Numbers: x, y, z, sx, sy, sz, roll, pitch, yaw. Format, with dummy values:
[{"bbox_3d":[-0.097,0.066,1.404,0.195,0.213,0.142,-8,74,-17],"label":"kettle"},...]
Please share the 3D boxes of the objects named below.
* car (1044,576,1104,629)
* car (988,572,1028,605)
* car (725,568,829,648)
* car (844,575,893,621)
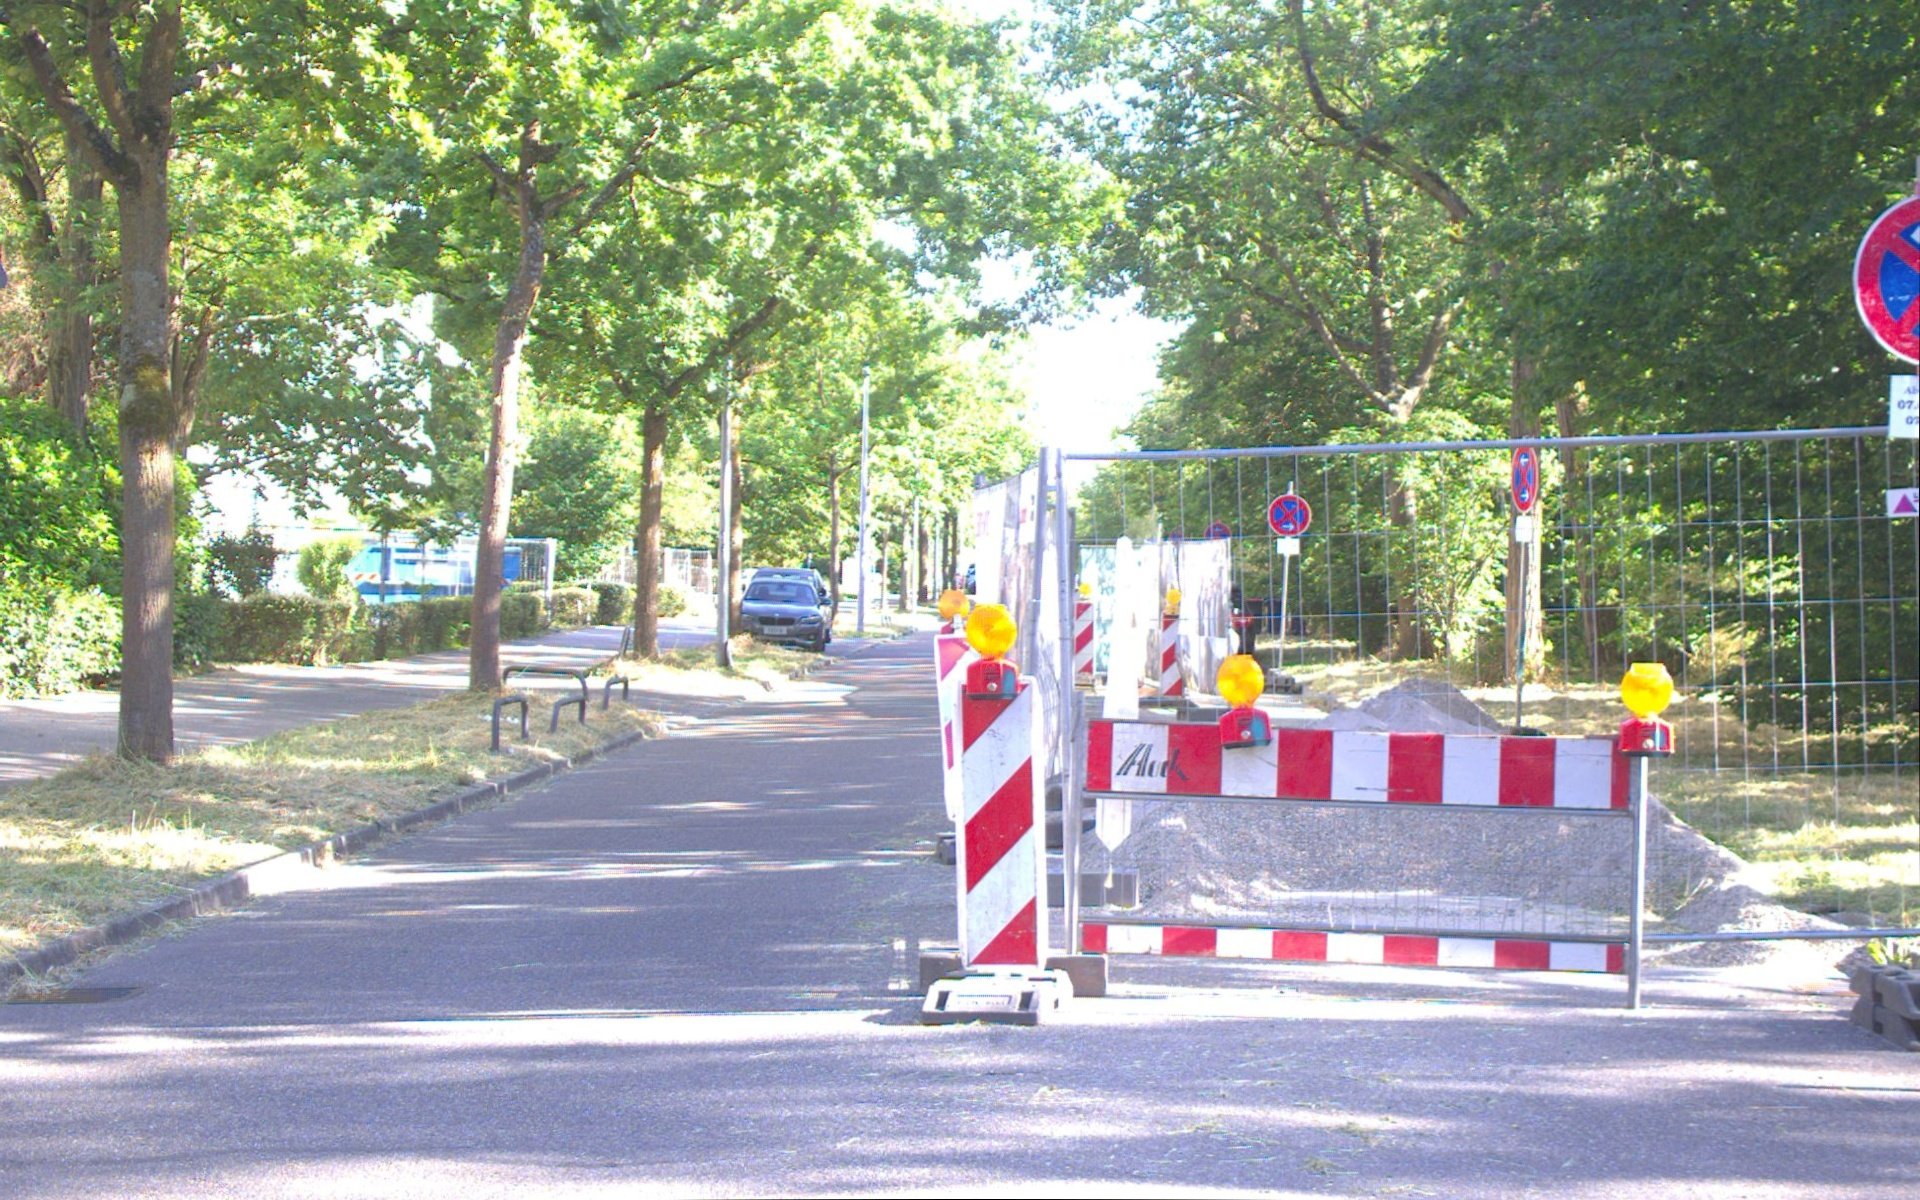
[{"bbox_3d":[2.942,0.066,89.399,1.361,1.298,3.481,2,0,-1],"label":"car"},{"bbox_3d":[2.359,-0.562,169.829,1.710,1.579,4.000,2,0,-2],"label":"car"},{"bbox_3d":[-3.533,0.138,66.911,1.751,1.473,3.836,1,0,0],"label":"car"},{"bbox_3d":[-2.707,-0.058,102.146,1.361,1.298,3.481,2,0,-1],"label":"car"}]
